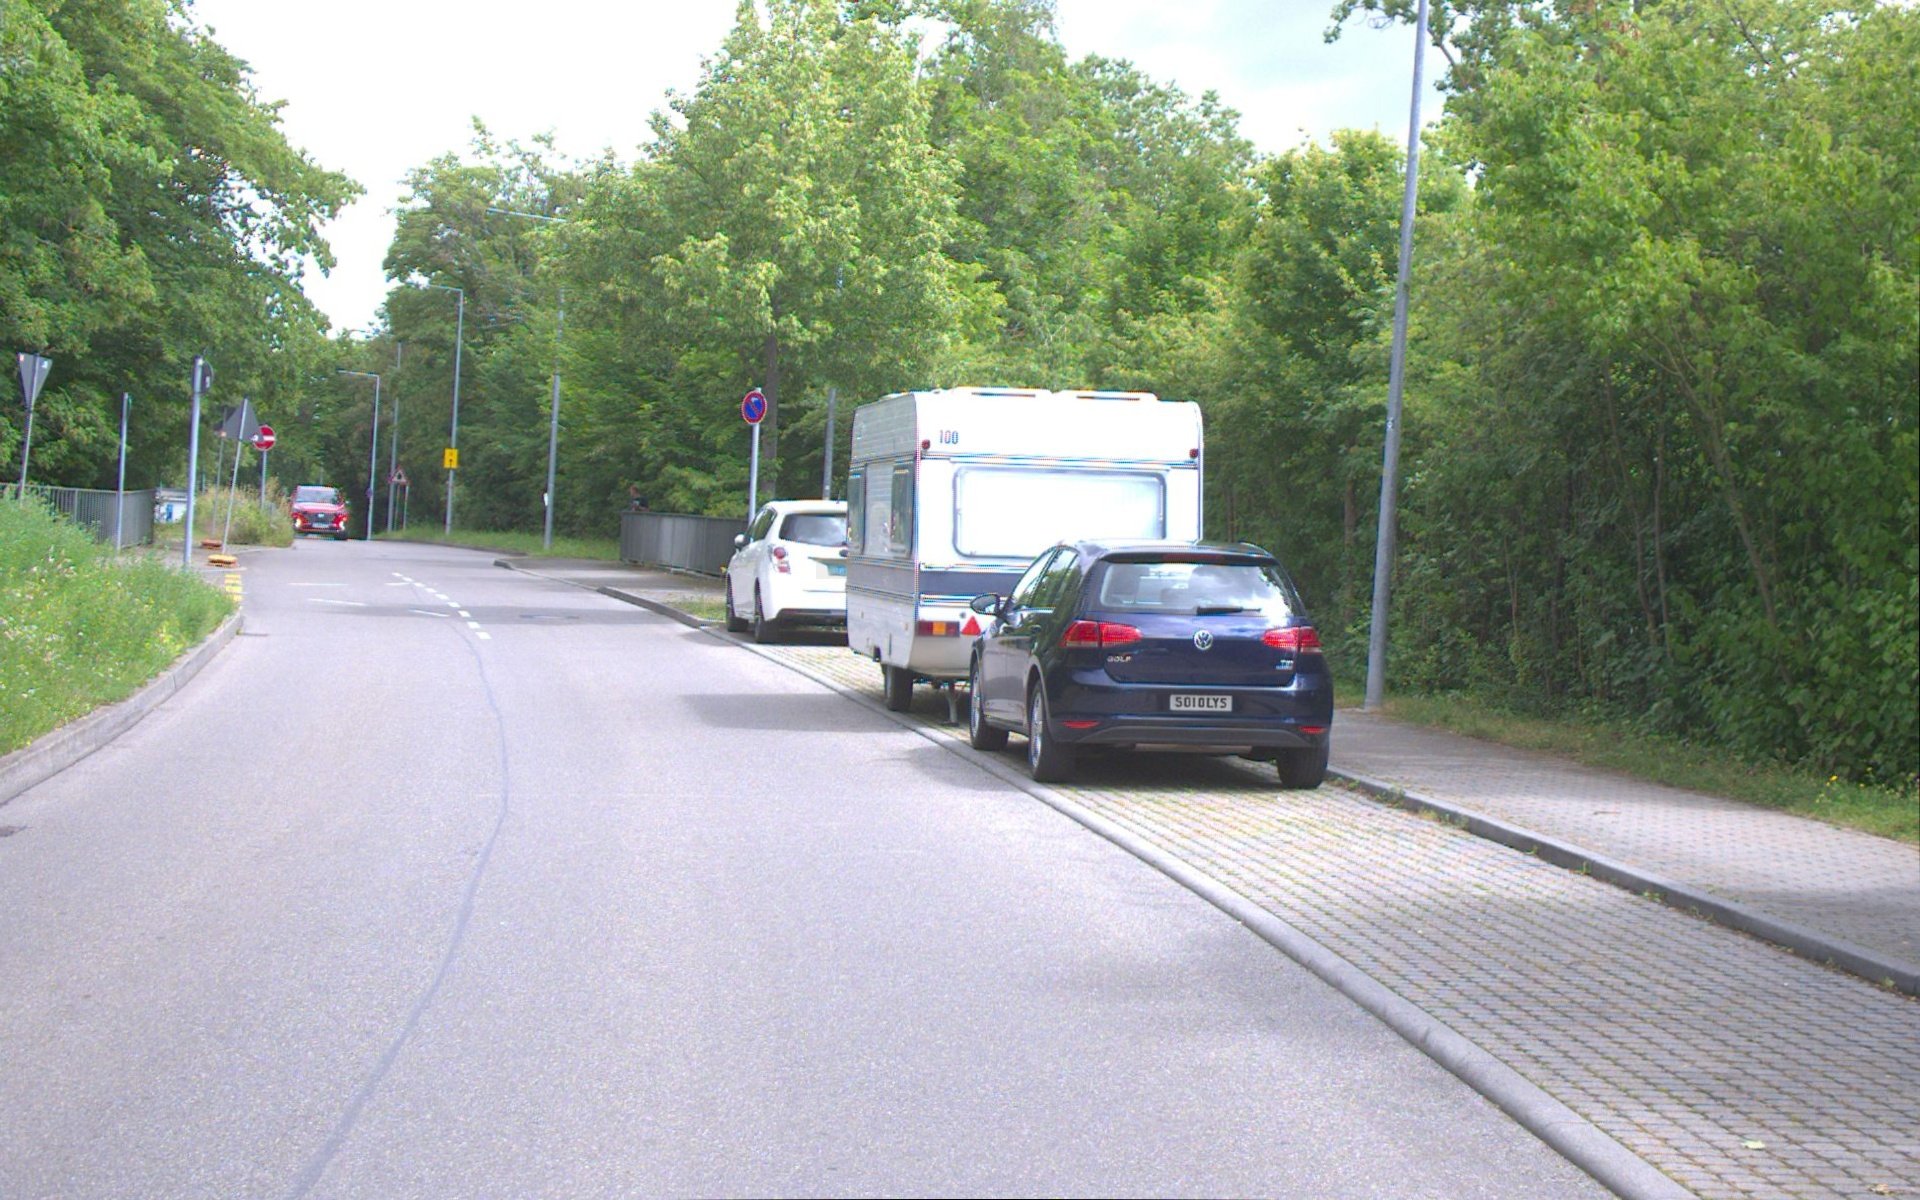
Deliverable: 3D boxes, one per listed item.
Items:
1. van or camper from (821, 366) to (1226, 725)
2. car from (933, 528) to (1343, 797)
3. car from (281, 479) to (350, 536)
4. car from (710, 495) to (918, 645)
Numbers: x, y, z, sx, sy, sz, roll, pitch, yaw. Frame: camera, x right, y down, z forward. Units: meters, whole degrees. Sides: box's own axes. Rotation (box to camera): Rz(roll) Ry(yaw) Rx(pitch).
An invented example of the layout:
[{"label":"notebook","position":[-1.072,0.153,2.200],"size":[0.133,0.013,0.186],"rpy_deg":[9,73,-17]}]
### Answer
[{"label":"van or camper","position":[0.367,-0.452,27.445],"size":[2.354,2.545,5.076],"rpy_deg":[1,1,-9]},{"label":"car","position":[1.005,0.317,21.876],"size":[1.681,1.446,4.481],"rpy_deg":[2,1,-9]},{"label":"car","position":[-20.214,-2.911,107.770],"size":[1.842,1.653,4.223],"rpy_deg":[2,2,-13]},{"label":"car","position":[-1.770,-0.393,40.212],"size":[1.804,1.594,4.373],"rpy_deg":[1,2,-10]}]
